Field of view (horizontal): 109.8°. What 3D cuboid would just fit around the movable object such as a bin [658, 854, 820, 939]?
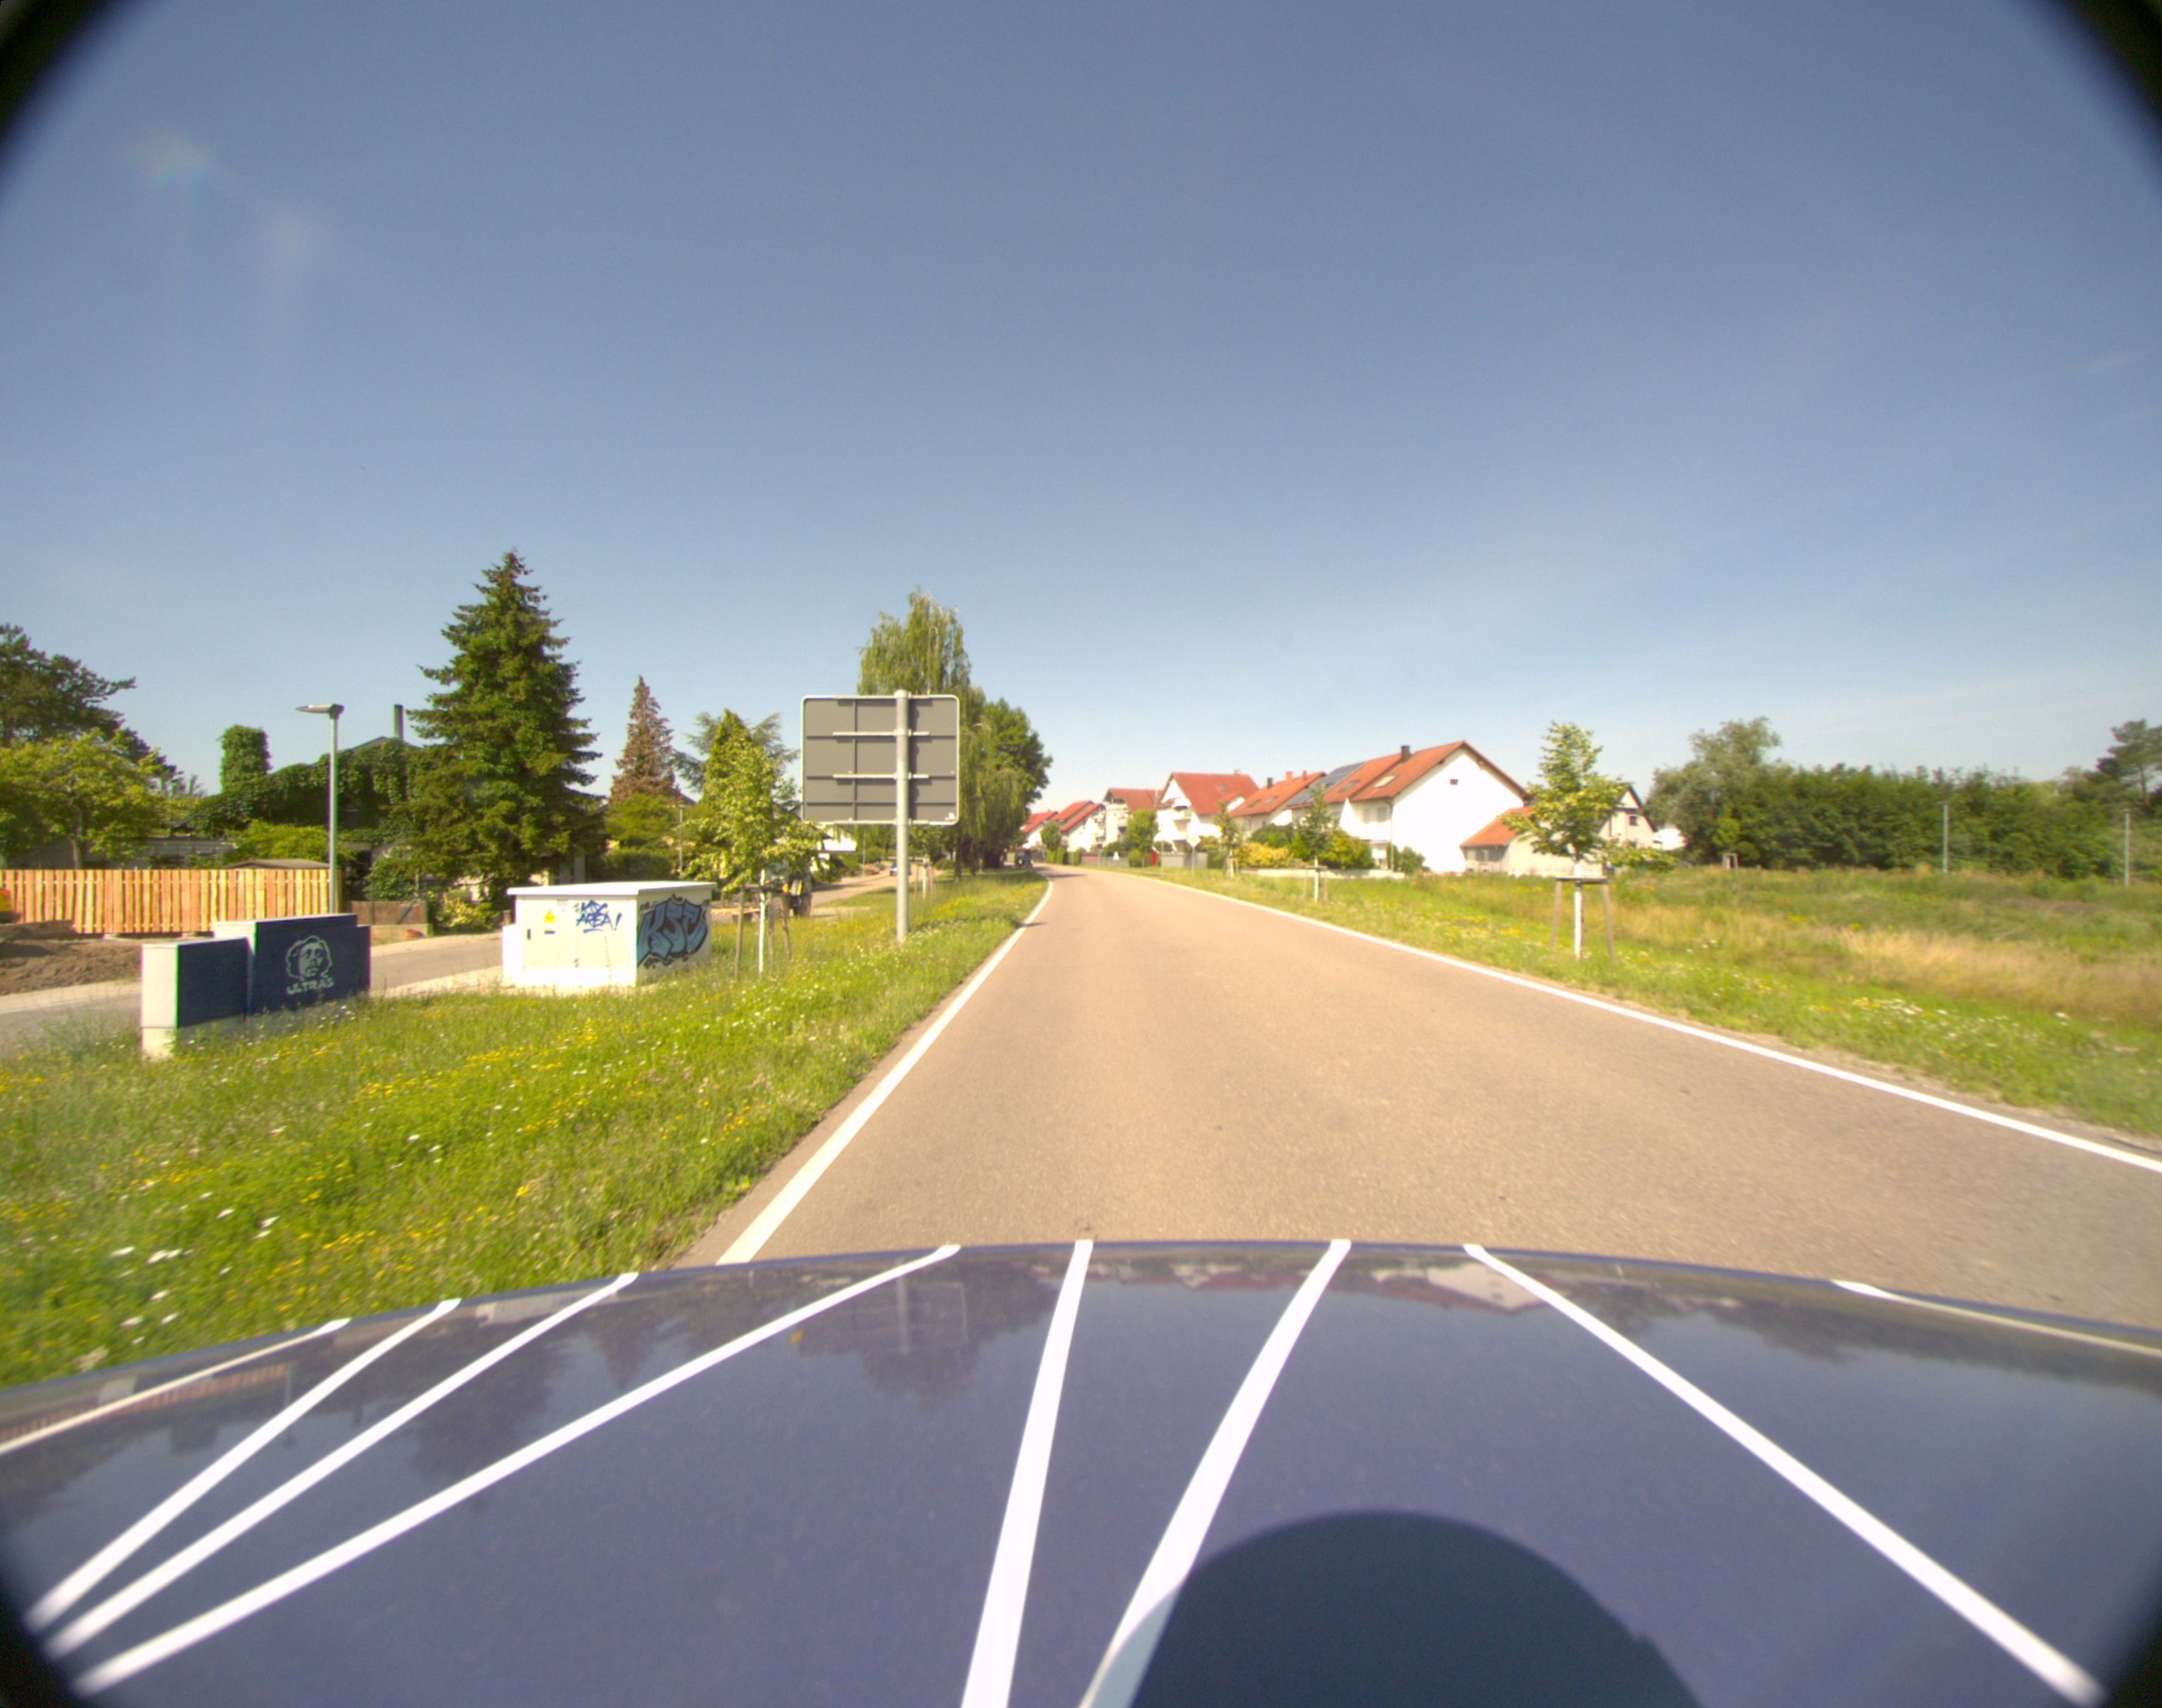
[{"bbox_3d":[-11.500,1.273,26.398,2.322,2.449,6.945,-1,1,1],"label":"movable object such as a bin"}]

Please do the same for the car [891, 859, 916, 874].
[{"bbox_3d":[-19.318,1.312,82.884,1.863,1.437,4.167,-2,1,-3],"label":"car"}]

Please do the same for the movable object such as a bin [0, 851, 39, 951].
[{"bbox_3d":[-29.026,1.214,19.072,2.883,2.542,1.783,-1,0,-32],"label":"movable object such as a bin"}]

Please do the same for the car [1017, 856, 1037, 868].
[{"bbox_3d":[-7.252,1.037,101.575,1.935,1.552,3.995,1,0,-14],"label":"car"}]
